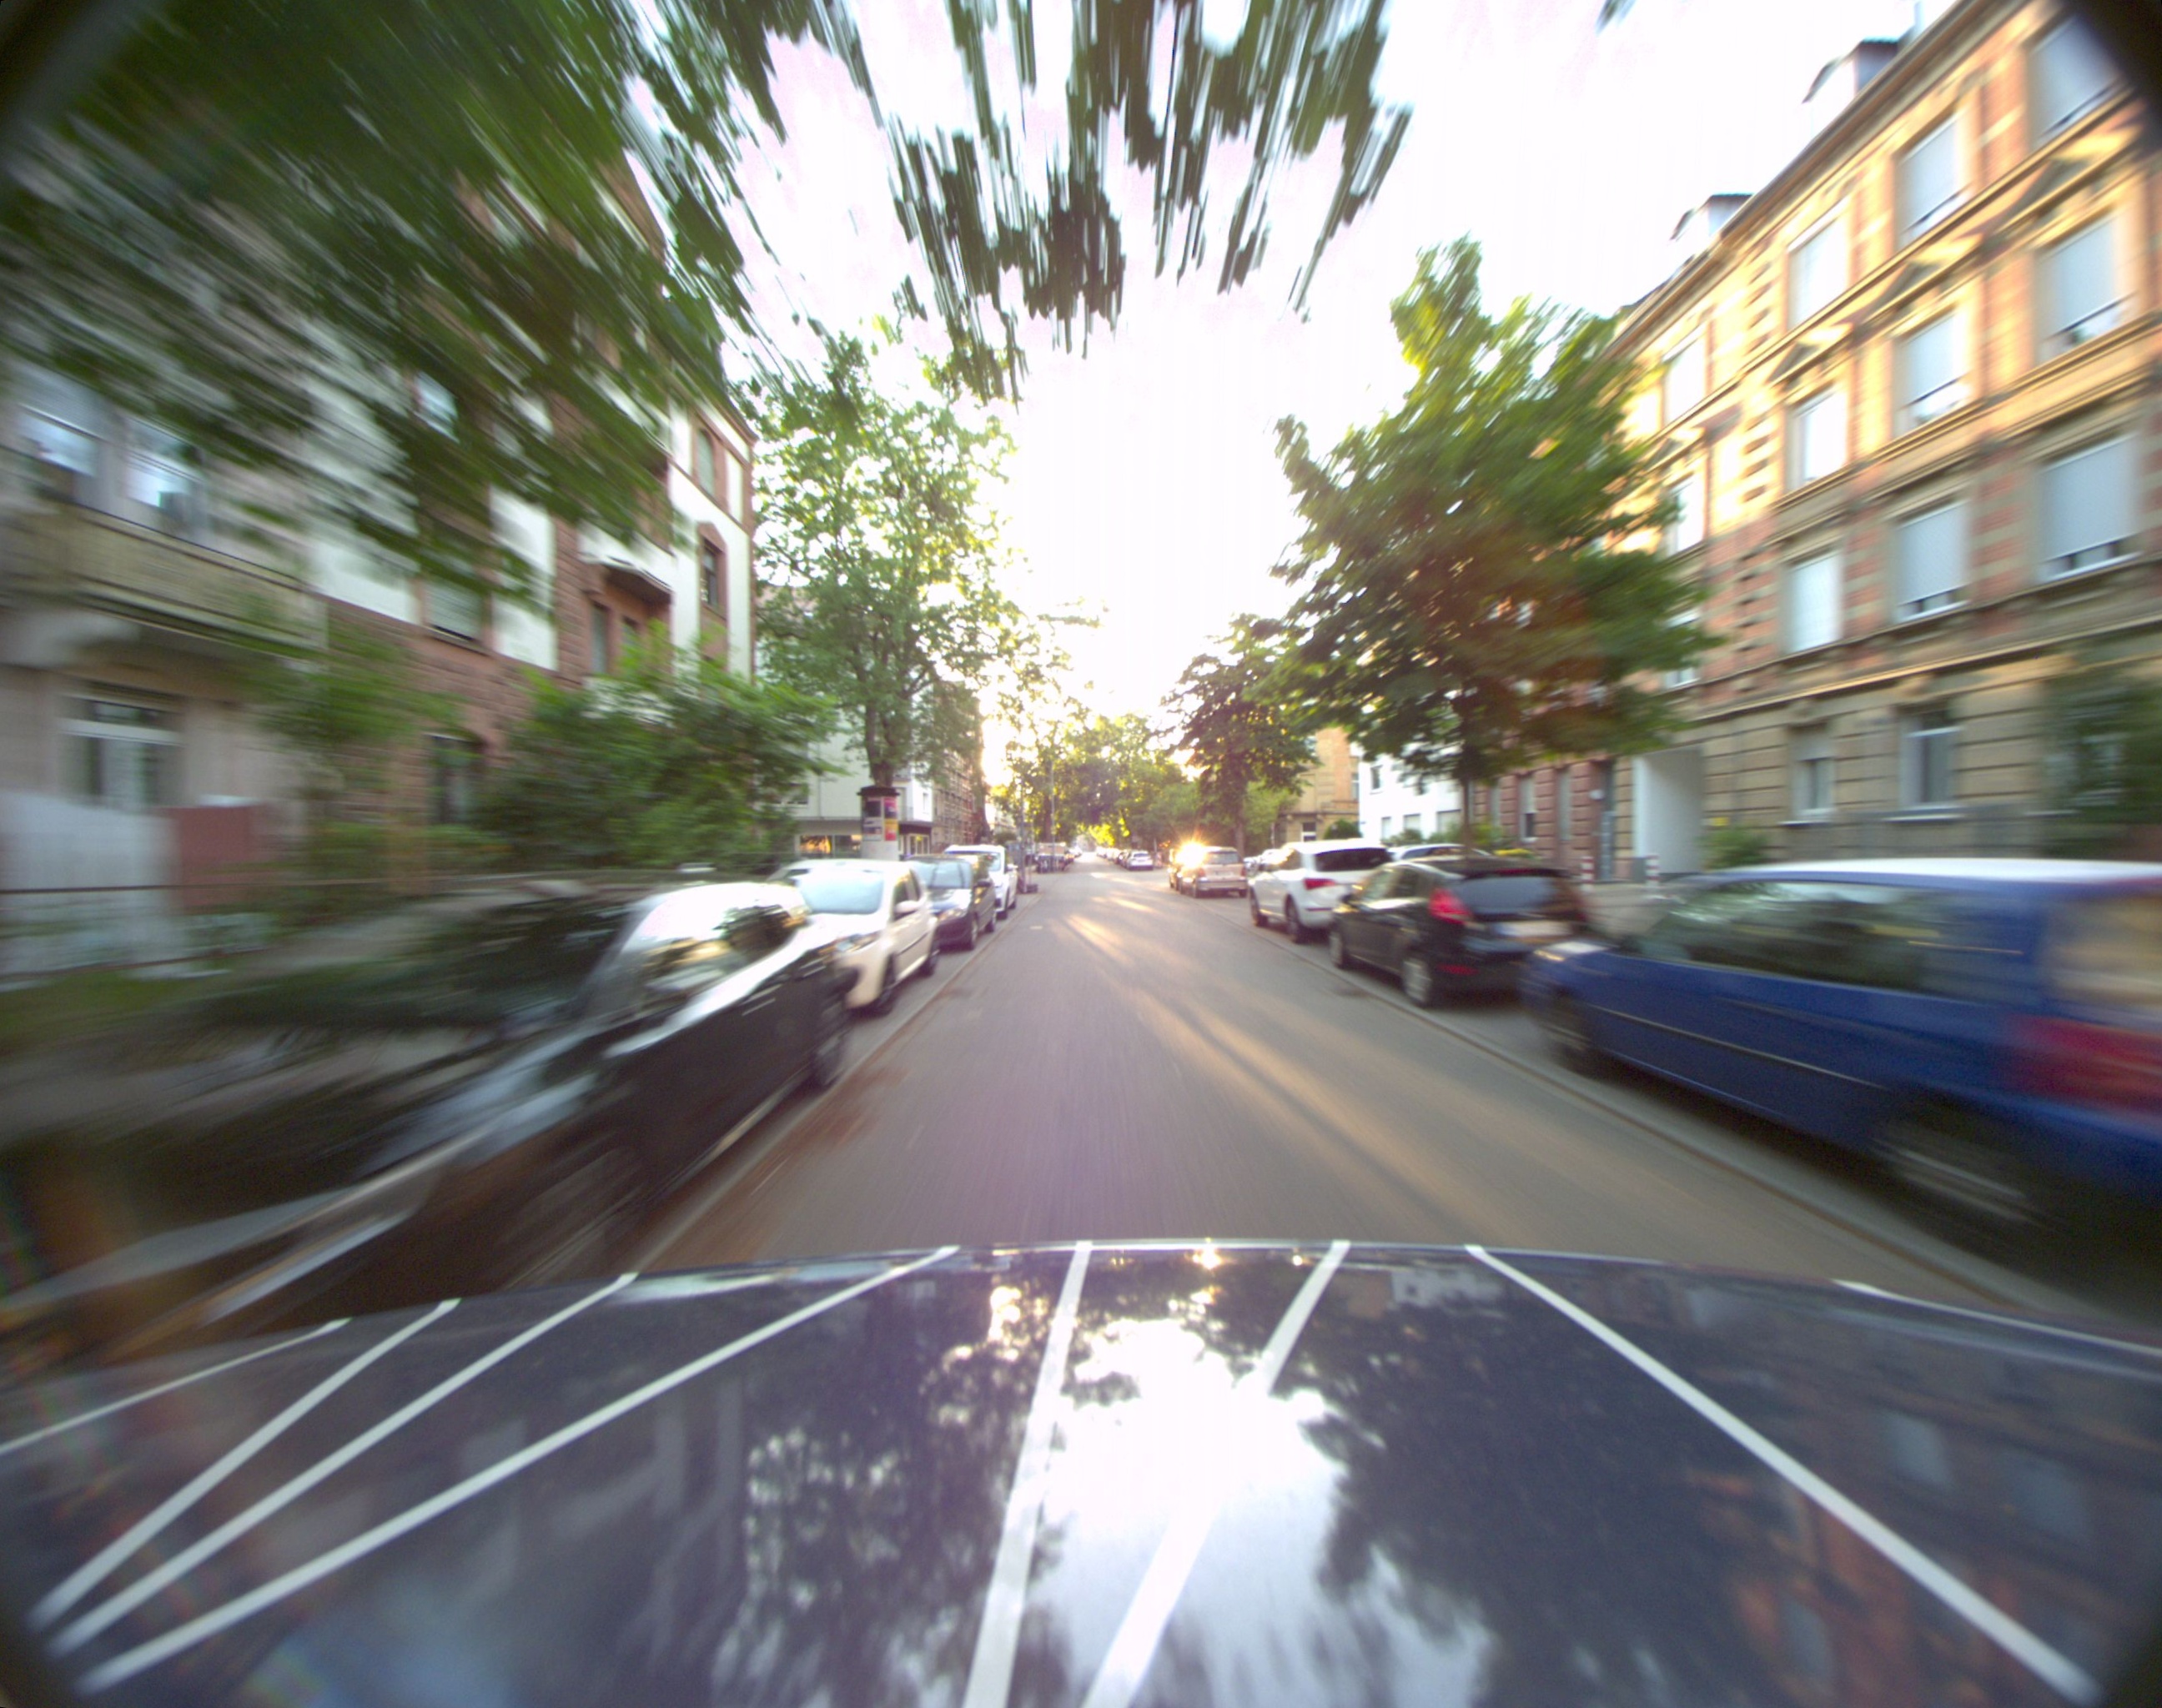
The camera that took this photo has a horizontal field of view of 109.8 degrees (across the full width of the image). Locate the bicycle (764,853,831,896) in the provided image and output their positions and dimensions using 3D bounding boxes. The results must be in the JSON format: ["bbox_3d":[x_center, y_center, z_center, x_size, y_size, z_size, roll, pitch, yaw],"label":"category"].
[{"bbox_3d":[-6.906,0.498,18.532,1.513,1.028,0.330,1,0,-1],"label":"bicycle"}]

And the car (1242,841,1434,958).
[{"bbox_3d":[4.278,0.666,13.479,1.926,1.707,4.427,-1,0,1],"label":"car"}]

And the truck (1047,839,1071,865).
[{"bbox_3d":[-1.926,-0.173,69.195,1.959,2.233,4.644,2,0,0],"label":"truck"}]

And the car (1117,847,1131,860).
[{"bbox_3d":[5.135,-0.055,89.782,1.555,1.477,3.695,-3,0,4],"label":"car"}]

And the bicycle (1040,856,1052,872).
[{"bbox_3d":[-2.444,0.669,52.883,0.406,1.103,2.156,2,1,8],"label":"bicycle"}]

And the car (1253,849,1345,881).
[{"bbox_3d":[10.487,0.520,36.771,4.099,1.439,1.819,-1,0,11],"label":"car"}]

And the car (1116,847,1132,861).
[{"bbox_3d":[4.754,-0.031,84.720,1.555,1.477,3.693,0,0,-1],"label":"car"}]

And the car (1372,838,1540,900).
[{"bbox_3d":[11.059,0.413,22.603,4.103,1.519,1.709,-4,1,0],"label":"car"}]

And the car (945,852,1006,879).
[{"bbox_3d":[-6.440,0.690,46.286,3.481,1.564,1.624,0,0,-19],"label":"car"}]

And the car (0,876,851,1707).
[{"bbox_3d":[-2.476,0.921,3.215,1.691,1.433,4.209,1,1,0],"label":"car"}]

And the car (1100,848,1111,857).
[{"bbox_3d":[4.508,-0.270,139.314,1.871,1.678,4.591,-1,0,0],"label":"car"}]

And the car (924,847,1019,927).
[{"bbox_3d":[-2.531,0.683,18.644,1.803,1.701,4.599,0,1,-2],"label":"car"}]

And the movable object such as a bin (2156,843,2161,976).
[{"bbox_3d":[11.242,0.562,7.102,1.100,1.406,1.004,-3,0,-13],"label":"movable object such as a bin"}]

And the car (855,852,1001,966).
[{"bbox_3d":[-2.454,0.798,13.240,1.691,1.597,4.208,-1,1,0],"label":"car"}]

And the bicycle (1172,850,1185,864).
[{"bbox_3d":[8.905,0.248,69.520,0.606,1.277,2.489,0,1,21],"label":"bicycle"}]

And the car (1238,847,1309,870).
[{"bbox_3d":[13.366,0.317,52.755,4.467,1.543,1.708,0,0,-9],"label":"car"}]

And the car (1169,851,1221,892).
[{"bbox_3d":[4.364,0.636,29.481,1.620,1.462,3.962,-1,0,3],"label":"car"}]

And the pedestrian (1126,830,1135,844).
[{"bbox_3d":[7.042,-2.456,108.240,0.869,2.002,1.007,0,1,-19],"label":"pedestrian"}]

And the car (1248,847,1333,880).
[{"bbox_3d":[9.542,0.432,34.887,3.569,1.439,1.819,-1,0,9],"label":"car"}]

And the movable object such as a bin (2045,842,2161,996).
[{"bbox_3d":[9.998,0.566,6.950,1.015,1.313,1.005,-3,0,5],"label":"movable object such as a bin"}]

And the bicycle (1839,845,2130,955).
[{"bbox_3d":[11.075,0.558,9.385,2.534,1.185,0.644,-3,0,6],"label":"bicycle"}]

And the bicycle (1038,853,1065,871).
[{"bbox_3d":[-2.181,0.577,55.853,1.908,1.251,0.406,2,1,-5],"label":"bicycle"}]

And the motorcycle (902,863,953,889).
[{"bbox_3d":[-6.518,0.912,32.385,2.217,1.073,0.436,0,-1,-44],"label":"motorcycle"}]

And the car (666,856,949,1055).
[{"bbox_3d":[-2.651,0.871,8.338,1.691,1.597,3.748,-1,1,0],"label":"car"}]

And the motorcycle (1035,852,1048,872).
[{"bbox_3d":[-2.772,0.530,53.773,0.503,1.349,2.063,2,1,7],"label":"motorcycle"}]

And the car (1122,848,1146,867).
[{"bbox_3d":[4.478,0.255,65.290,1.694,1.494,4.401,-3,1,0],"label":"car"}]

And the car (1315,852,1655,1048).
[{"bbox_3d":[3.979,0.807,8.282,1.720,1.557,3.780,-1,1,1],"label":"car"}]

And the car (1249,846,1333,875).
[{"bbox_3d":[10.937,0.342,39.815,4.100,1.439,1.710,-1,0,9],"label":"car"}]

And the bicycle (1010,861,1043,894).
[{"bbox_3d":[-2.006,0.850,28.001,0.444,1.166,1.639,0,1,26],"label":"bicycle"}]

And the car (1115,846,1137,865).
[{"bbox_3d":[4.173,0.131,70.366,1.694,1.554,4.402,-3,0,0],"label":"car"}]

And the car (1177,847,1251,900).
[{"bbox_3d":[4.265,0.588,24.896,1.600,1.594,3.743,-1,0,-3],"label":"car"}]

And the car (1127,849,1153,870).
[{"bbox_3d":[4.571,0.382,59.248,1.694,1.493,4.738,-3,0,1],"label":"car"}]

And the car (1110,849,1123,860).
[{"bbox_3d":[5.049,0.121,108.486,1.668,1.484,3.710,-3,0,0],"label":"car"}]

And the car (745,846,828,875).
[{"bbox_3d":[-16.420,0.338,42.461,4.239,1.421,1.653,-2,2,-22],"label":"car"}]

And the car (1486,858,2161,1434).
[{"bbox_3d":[3.905,0.830,3.835,1.720,1.557,3.788,-1,0,1],"label":"car"}]

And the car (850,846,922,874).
[{"bbox_3d":[-11.443,0.354,44.463,3.901,1.499,1.623,-2,0,-20],"label":"car"}]

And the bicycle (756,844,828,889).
[{"bbox_3d":[-6.667,0.291,17.557,1.513,1.028,0.330,1,0,-1],"label":"bicycle"}]

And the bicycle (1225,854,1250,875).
[{"bbox_3d":[9.061,0.582,44.061,0.338,1.174,1.873,-1,2,-25],"label":"bicycle"}]

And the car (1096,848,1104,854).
[{"bbox_3d":[4.630,-0.723,185.695,1.617,1.433,4.104,-2,0,-1],"label":"car"}]

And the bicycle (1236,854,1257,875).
[{"bbox_3d":[9.657,0.599,44.346,0.243,1.174,1.676,-1,1,-25],"label":"bicycle"}]

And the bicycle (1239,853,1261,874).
[{"bbox_3d":[9.888,0.559,44.448,0.243,1.174,1.676,-1,1,-25],"label":"bicycle"}]

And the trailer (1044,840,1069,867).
[{"bbox_3d":[-2.160,-0.069,68.497,1.959,2.282,4.644,2,0,0],"label":"trailer"}]

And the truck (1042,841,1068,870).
[{"bbox_3d":[-2.089,0.066,61.411,1.982,2.232,6.774,0,1,-1],"label":"truck"}]

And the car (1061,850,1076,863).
[{"bbox_3d":[-1.614,0.333,97.511,1.669,1.491,3.693,2,0,-3],"label":"car"}]

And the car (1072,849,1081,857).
[{"bbox_3d":[-1.020,-0.212,156.107,1.617,1.433,3.753,-3,0,-2],"label":"car"}]

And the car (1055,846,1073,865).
[{"bbox_3d":[-2.010,0.166,89.004,1.959,2.047,4.830,2,0,-1],"label":"car"}]
